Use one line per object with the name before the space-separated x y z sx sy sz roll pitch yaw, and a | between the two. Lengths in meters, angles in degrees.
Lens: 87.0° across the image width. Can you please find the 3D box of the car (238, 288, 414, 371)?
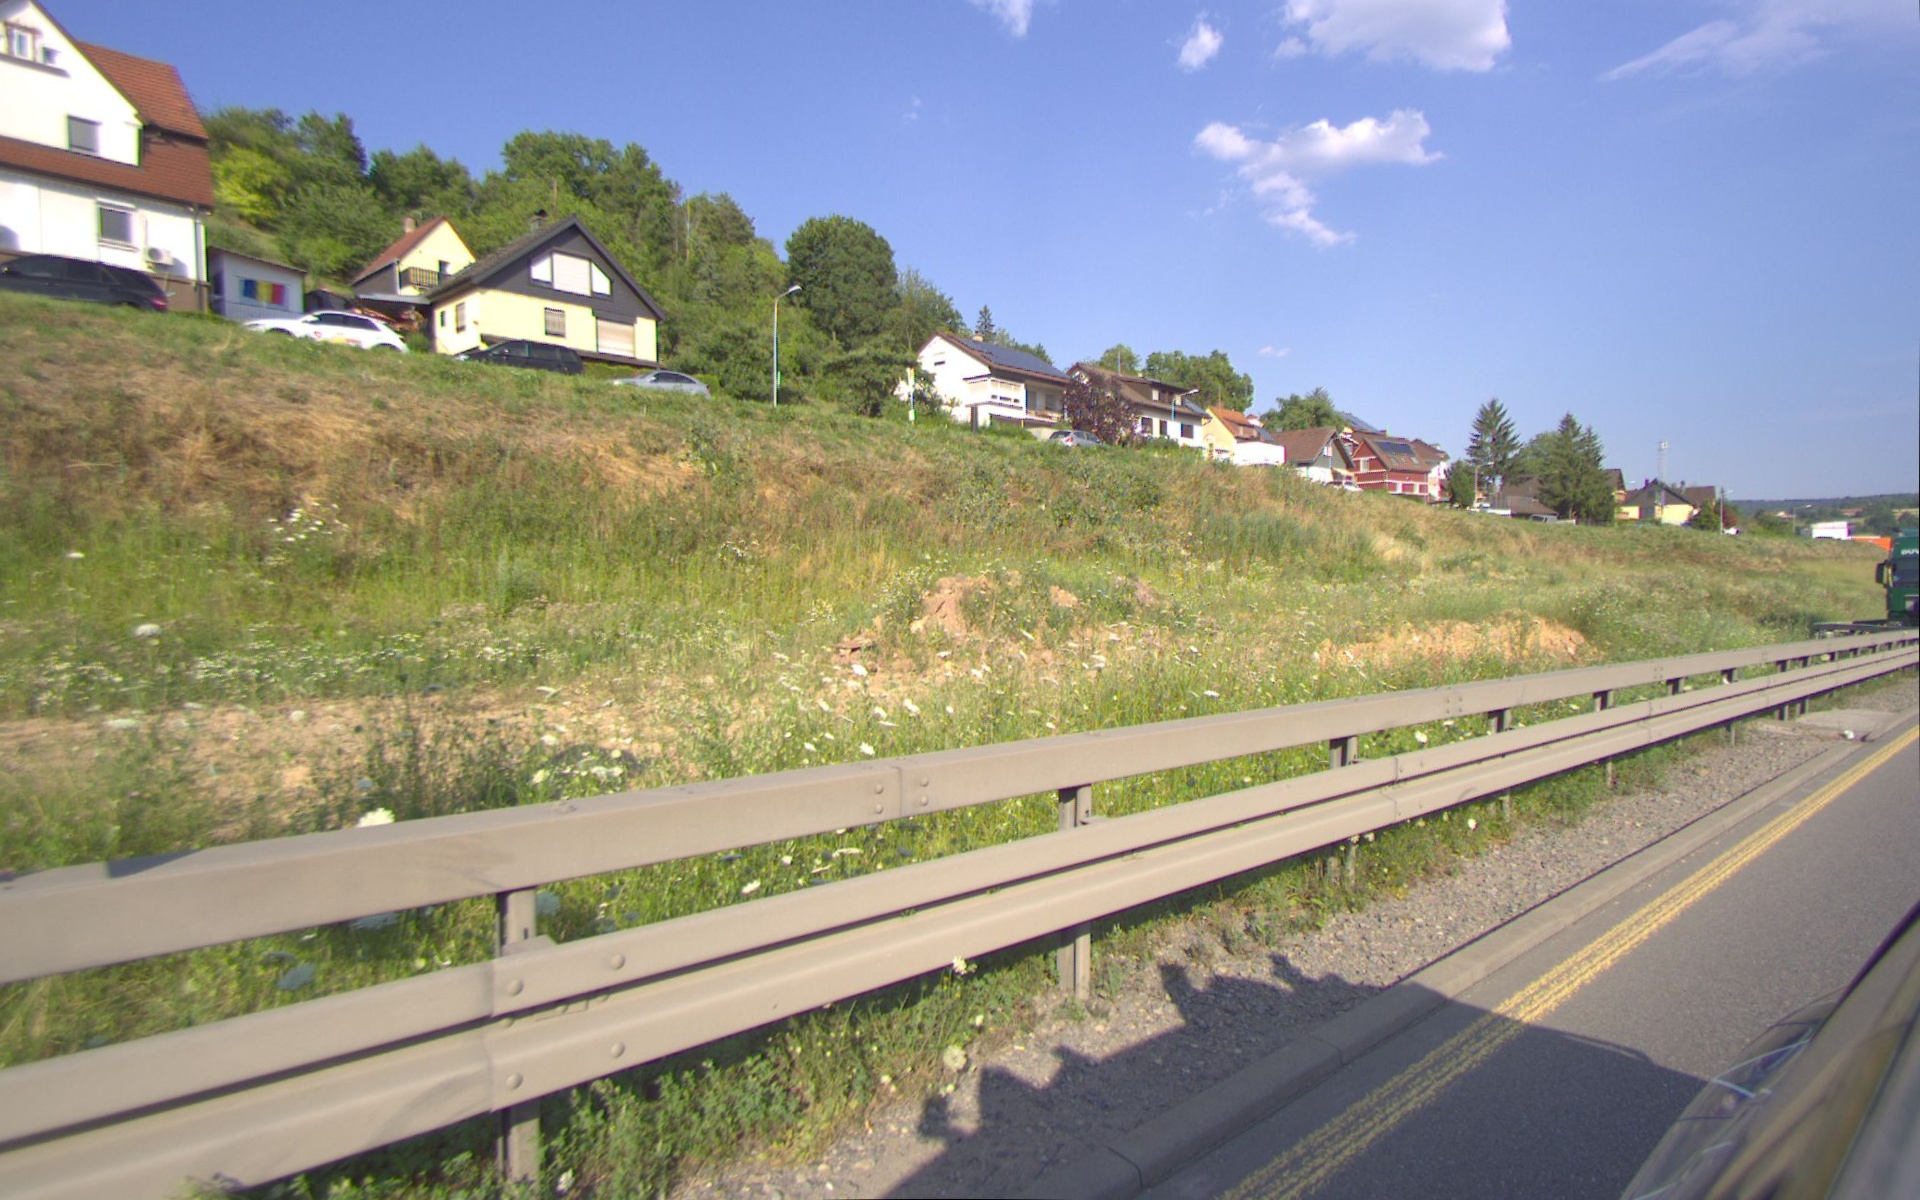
car | -17.180 -7.277 27.563 1.341 1.248 3.845 0 0 39

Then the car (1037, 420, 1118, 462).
car | 5.966 -8.006 51.182 3.933 1.460 1.995 0 0 -43

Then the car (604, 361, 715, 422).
car | -10.340 -7.150 35.006 1.443 1.389 3.507 0 0 39

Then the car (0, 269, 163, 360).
car | -20.830 -6.581 23.180 1.340 1.248 3.848 0 0 37

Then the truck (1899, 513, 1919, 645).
truck | 32.462 -0.668 32.606 5.964 4.066 2.545 0 0 -40

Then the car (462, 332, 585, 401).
car | -13.493 -7.189 31.406 1.340 1.340 3.298 0 0 37
